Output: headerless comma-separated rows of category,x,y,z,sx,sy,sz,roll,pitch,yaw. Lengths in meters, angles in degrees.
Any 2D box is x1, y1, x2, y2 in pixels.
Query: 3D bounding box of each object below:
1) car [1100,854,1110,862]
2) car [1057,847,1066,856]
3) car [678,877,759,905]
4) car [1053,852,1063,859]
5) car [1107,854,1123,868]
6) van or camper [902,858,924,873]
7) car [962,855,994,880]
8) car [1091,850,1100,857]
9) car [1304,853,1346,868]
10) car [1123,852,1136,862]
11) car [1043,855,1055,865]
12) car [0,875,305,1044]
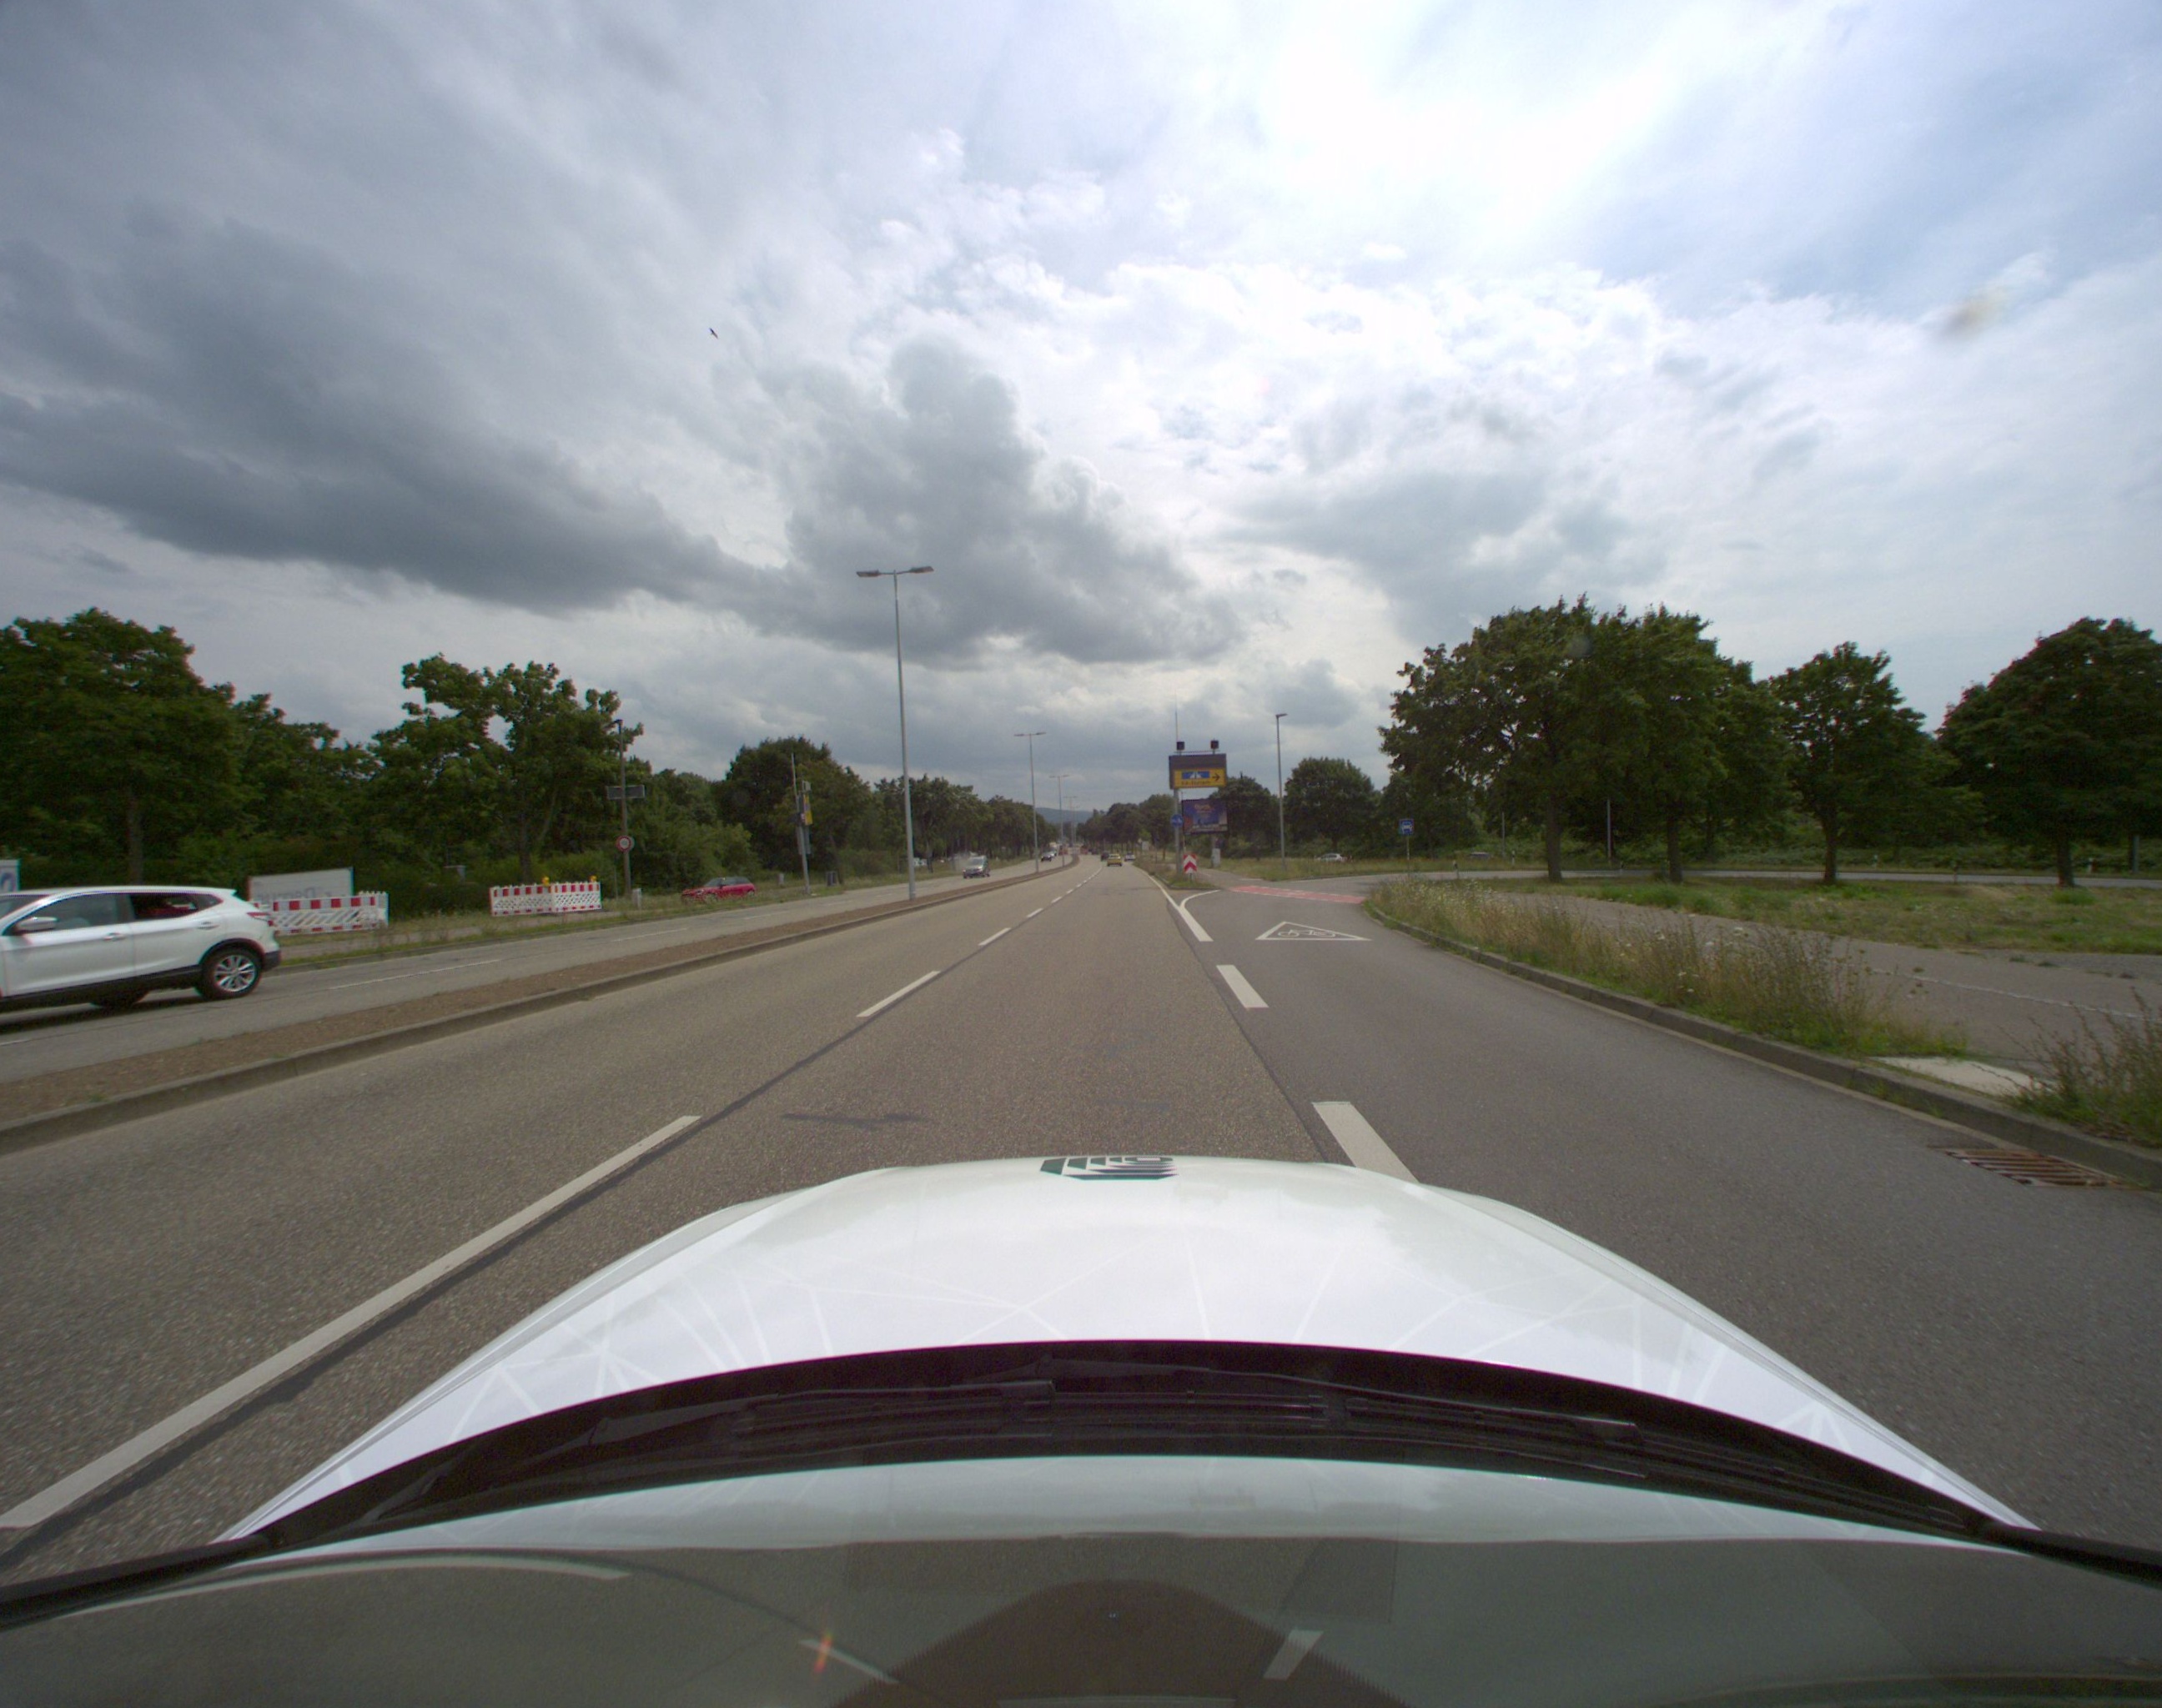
car,4.328,0.638,144.868,1.661,1.269,4.001,-2,1,1
car,-5.449,-0.711,227.020,2.088,2.200,6.004,-3,0,0
car,-18.861,1.909,42.533,1.391,1.244,3.913,-1,0,24
car,-5.637,0.300,198.276,1.985,1.430,4.691,-3,0,3
car,4.100,0.805,99.312,1.787,1.562,4.001,-2,1,1
van or camper,-31.620,2.156,153.638,2.463,2.540,6.721,-2,1,1
car,-8.662,1.110,68.742,1.895,1.809,4.542,-2,1,2
car,4.022,-0.203,221.629,2.198,1.683,4.002,-2,1,2
car,26.110,0.709,87.234,3.949,1.464,1.783,-1,1,43
car,8.474,0.474,141.330,2.007,1.670,4.001,-2,1,1
car,-6.488,1.160,164.469,1.986,1.811,4.799,-3,1,1
car,-12.121,1.190,9.506,1.687,1.629,4.388,-2,1,4
